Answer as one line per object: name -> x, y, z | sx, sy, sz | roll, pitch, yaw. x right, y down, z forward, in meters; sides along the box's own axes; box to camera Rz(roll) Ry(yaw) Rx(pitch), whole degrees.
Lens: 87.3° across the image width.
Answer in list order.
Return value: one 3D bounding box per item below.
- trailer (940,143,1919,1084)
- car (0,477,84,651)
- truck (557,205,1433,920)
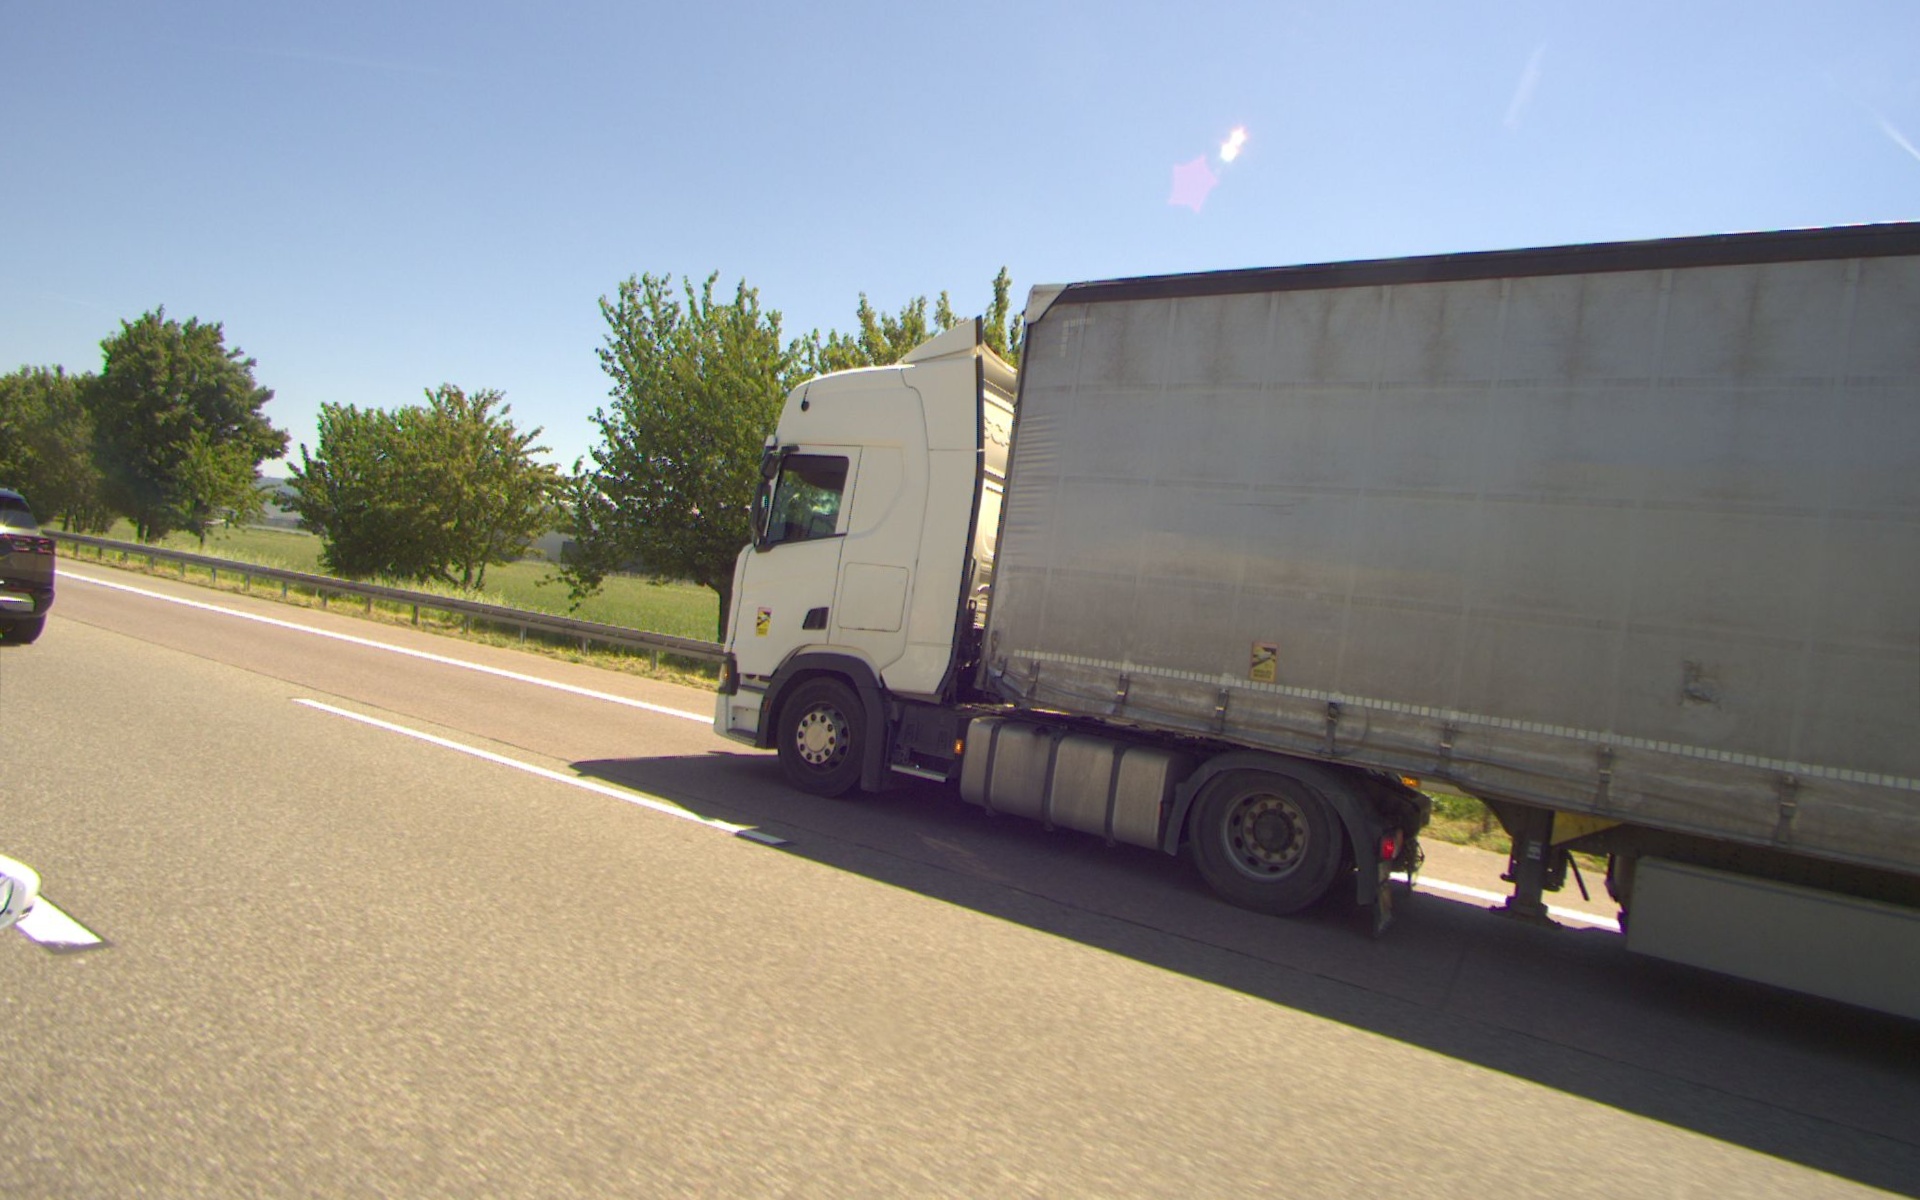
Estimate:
trailer -> 6.737, 0.325, 4.852 | 14.020, 4.354, 2.815 | 6, -2, 32
car -> -11.716, -0.629, 10.929 | 4.667, 1.694, 1.871 | 6, -2, 31
truck -> 0.024, -0.418, 9.167 | 7.075, 4.354, 2.815 | 6, -2, 32
